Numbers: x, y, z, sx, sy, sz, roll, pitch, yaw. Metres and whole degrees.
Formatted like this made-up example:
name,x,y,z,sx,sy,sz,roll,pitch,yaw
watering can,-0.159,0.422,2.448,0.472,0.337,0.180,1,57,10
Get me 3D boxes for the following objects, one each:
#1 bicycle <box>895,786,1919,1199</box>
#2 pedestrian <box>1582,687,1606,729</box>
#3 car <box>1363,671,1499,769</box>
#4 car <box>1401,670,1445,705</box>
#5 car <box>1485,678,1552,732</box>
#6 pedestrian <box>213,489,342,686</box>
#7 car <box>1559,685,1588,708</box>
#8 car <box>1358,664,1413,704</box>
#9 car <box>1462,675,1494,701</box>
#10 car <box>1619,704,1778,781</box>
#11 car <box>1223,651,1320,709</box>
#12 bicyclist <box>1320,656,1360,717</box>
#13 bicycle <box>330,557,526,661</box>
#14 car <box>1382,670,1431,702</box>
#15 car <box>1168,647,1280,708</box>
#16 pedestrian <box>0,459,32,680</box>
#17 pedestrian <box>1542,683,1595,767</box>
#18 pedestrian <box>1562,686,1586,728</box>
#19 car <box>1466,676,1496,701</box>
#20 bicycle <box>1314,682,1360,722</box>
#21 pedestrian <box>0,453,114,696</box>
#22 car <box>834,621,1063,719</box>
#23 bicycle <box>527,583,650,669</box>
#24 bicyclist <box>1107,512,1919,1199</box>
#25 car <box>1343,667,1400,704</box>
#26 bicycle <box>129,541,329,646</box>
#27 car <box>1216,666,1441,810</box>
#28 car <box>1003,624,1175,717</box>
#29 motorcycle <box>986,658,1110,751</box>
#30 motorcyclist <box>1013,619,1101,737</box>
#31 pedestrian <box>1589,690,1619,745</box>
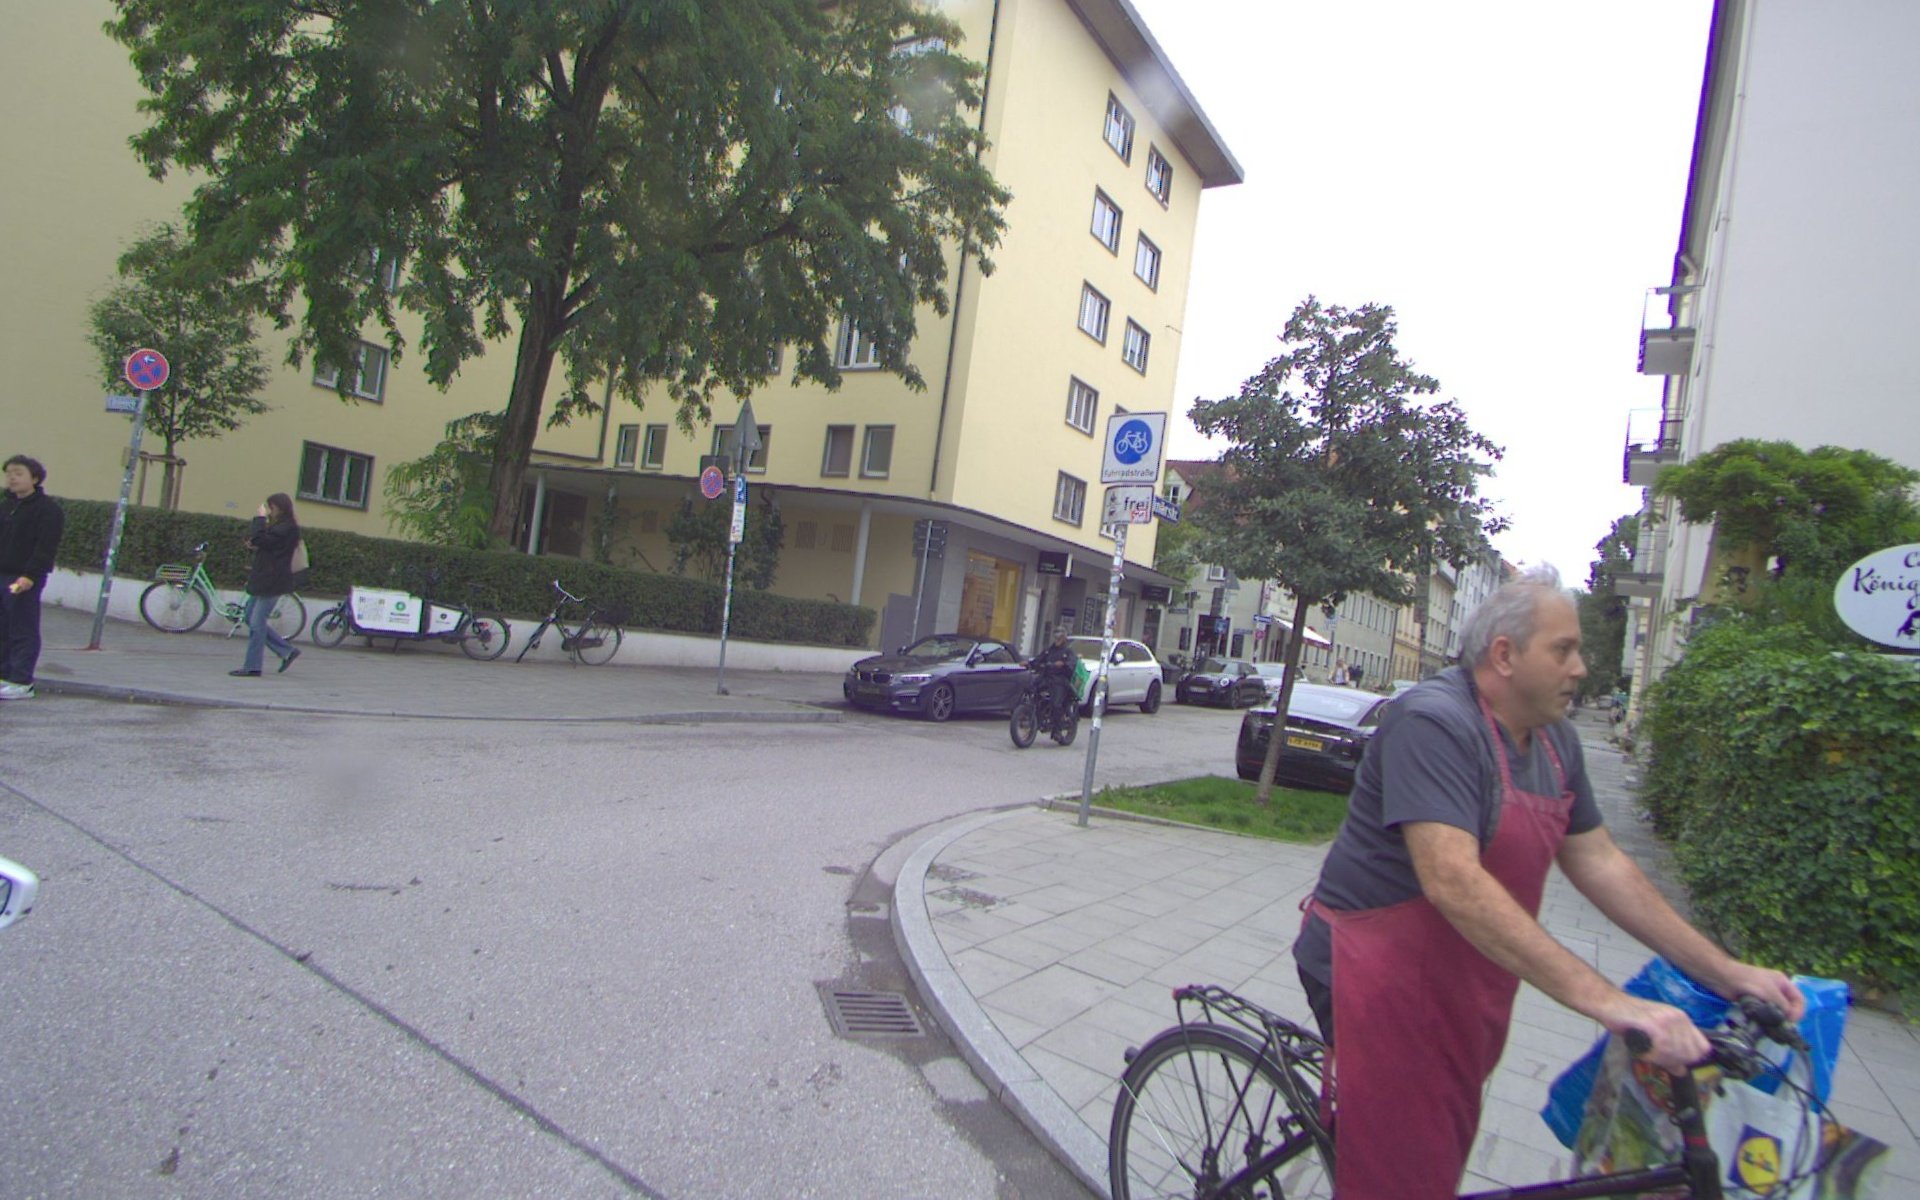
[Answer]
name,x,y,z,sx,sy,sz,roll,pitch,yaw
bicycle,0.925,1.079,1.793,0.873,1.032,2.166,8,-1,-40
pedestrian,32.192,5.477,51.078,0.775,2.038,0.831,8,0,29
car,9.577,2.381,20.275,1.696,1.548,3.990,7,-1,35
car,27.112,5.134,58.843,1.760,1.682,3.994,7,-1,31
car,22.062,4.142,39.663,1.791,1.796,3.990,7,-1,35
pedestrian,-6.958,-0.126,10.258,0.847,1.881,0.757,6,1,-43
car,47.087,7.386,77.141,1.676,1.526,3.991,8,0,33
car,21.611,4.268,50.980,1.761,1.682,3.992,7,-1,33
car,39.312,6.717,76.351,1.760,1.682,3.994,7,-1,31
car,20.954,4.012,28.687,3.427,1.548,1.572,7,-1,36
car,10.206,2.644,32.824,1.796,1.548,3.991,7,-1,34
bicyclist,11.134,2.547,29.488,0.685,1.676,1.004,8,0,36
bicycle,-7.147,0.145,13.593,2.159,1.129,0.633,8,-1,-40
car,24.619,4.766,55.387,1.761,1.431,3.992,7,-1,33
car,7.761,2.309,29.387,1.797,1.417,3.990,7,-1,34
pedestrian,-8.175,-0.305,8.130,0.731,1.767,0.824,8,0,45
pedestrian,13.595,2.780,22.465,0.776,1.735,0.830,8,0,34
pedestrian,31.410,5.467,51.480,0.775,2.038,0.831,8,0,29
car,41.618,7.111,80.369,1.760,1.682,3.994,7,-1,31
bicycle,11.070,2.991,29.488,0.674,1.036,1.962,7,-1,35
pedestrian,-7.465,-0.210,7.909,0.650,1.831,0.989,7,0,38
car,-0.052,1.265,17.368,1.637,1.382,4.322,4,-3,36
bicycle,-5.553,0.417,15.122,0.452,1.144,1.684,8,-1,33
bicyclist,0.991,0.733,1.762,0.872,1.629,1.037,7,0,-41
car,19.455,4.056,47.449,1.714,1.439,3.993,7,-1,32
bicycle,-9.207,-0.068,12.735,1.918,1.098,0.528,6,0,-13
car,5.325,1.833,14.123,1.937,1.415,4.496,7,-1,32
car,2.894,1.507,21.726,1.829,1.682,4.307,4,-1,35
motorcycle,1.264,1.456,14.009,0.707,1.111,1.972,7,-1,35
motorcyclist,1.363,1.090,14.057,0.702,1.519,0.896,8,0,35
pedestrian,25.307,4.608,39.515,0.744,2.038,0.830,8,0,34
